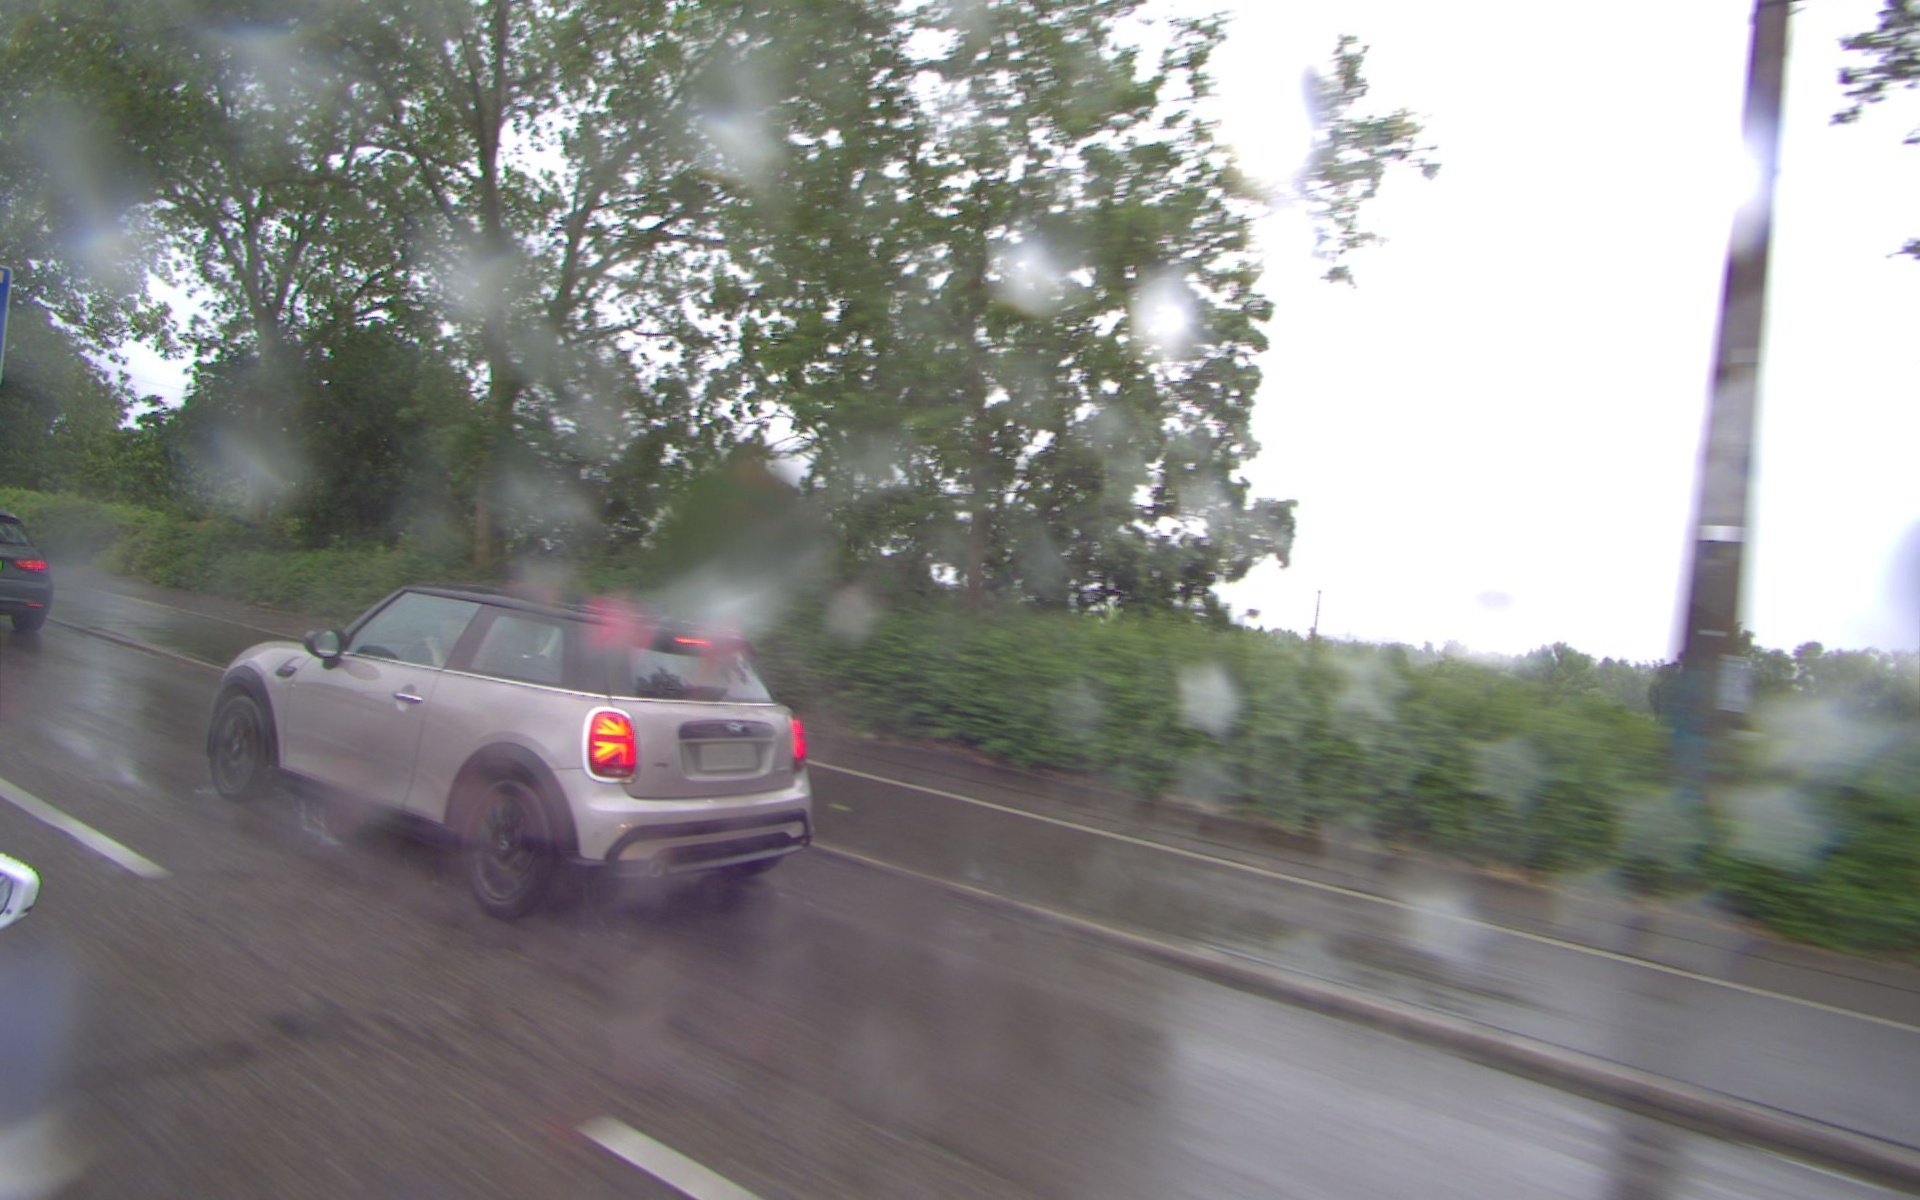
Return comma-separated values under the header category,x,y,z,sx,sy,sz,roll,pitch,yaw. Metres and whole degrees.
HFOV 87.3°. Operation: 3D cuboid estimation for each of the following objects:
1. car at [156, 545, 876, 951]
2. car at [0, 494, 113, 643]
category,x,y,z,sx,sy,sz,roll,pitch,yaw
car,-2.617,0.649,5.780,3.790,1.429,1.796,5,-4,31
car,-12.143,-0.577,11.904,3.924,1.546,1.972,7,-1,31
